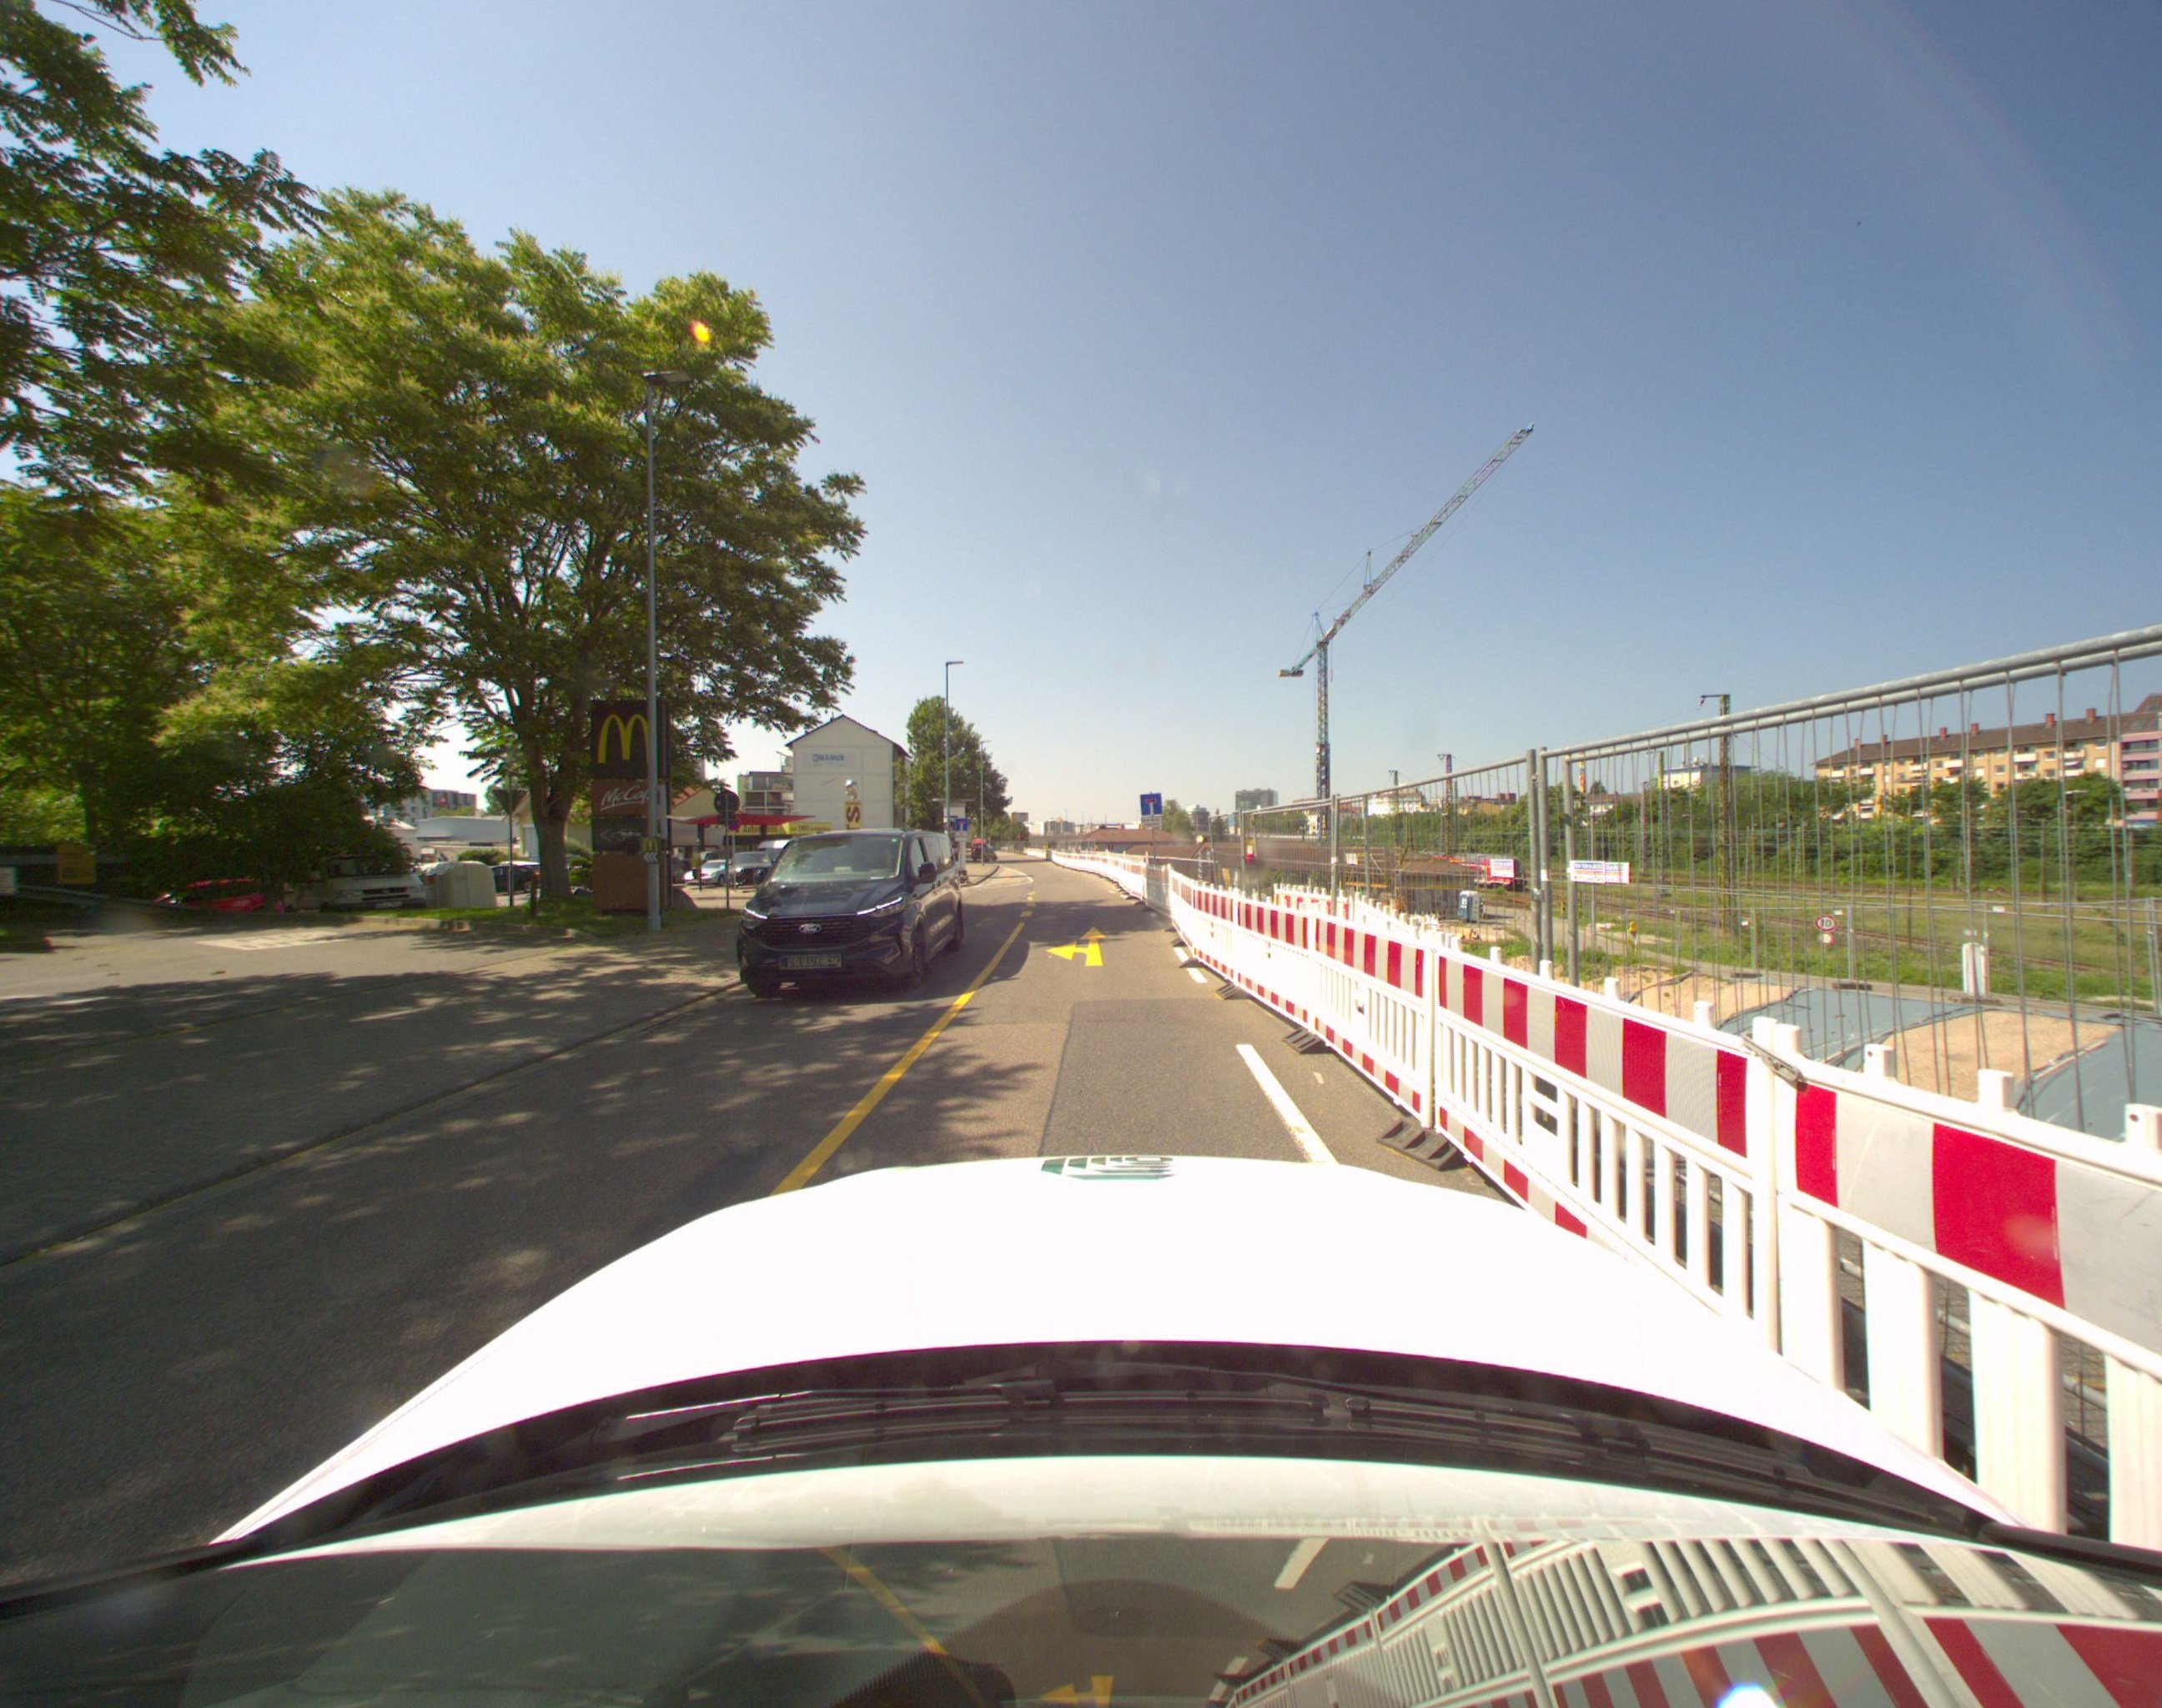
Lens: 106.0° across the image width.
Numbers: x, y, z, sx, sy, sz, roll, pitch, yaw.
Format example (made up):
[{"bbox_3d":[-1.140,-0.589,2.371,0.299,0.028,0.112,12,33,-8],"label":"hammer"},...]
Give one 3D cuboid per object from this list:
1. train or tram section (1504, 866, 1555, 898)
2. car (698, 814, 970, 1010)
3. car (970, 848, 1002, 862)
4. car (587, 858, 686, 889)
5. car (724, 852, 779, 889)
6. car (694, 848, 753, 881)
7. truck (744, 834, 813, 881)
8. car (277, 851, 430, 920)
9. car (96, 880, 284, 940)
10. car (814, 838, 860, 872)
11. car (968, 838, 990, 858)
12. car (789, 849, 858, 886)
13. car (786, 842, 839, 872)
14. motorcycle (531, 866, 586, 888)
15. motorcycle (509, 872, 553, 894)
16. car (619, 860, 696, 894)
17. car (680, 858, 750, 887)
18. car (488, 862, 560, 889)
[{"bbox_3d":[56.092,3.414,102.098,2.995,3.701,8.999,2,0,11],"label":"train or tram section"},{"bbox_3d":[-2.967,0.587,11.323,2.171,1.968,5.441,-3,1,-2],"label":"car"},{"bbox_3d":[-10.958,0.104,93.788,3.300,1.637,1.705,0,-1,-45],"label":"car"},{"bbox_3d":[-23.940,1.033,43.895,4.358,1.585,1.976,0,-1,-42],"label":"car"},{"bbox_3d":[-15.420,0.748,37.994,2.057,1.594,4.385,0,-1,-26],"label":"car"},{"bbox_3d":[-22.915,0.640,52.377,1.989,2.014,4.490,0,0,-3],"label":"car"},{"bbox_3d":[-19.644,0.209,53.199,2.262,2.904,5.941,0,0,-1],"label":"truck"},{"bbox_3d":[-19.045,0.732,21.252,4.966,1.583,1.970,1,0,36],"label":"car"},{"bbox_3d":[-26.031,1.574,23.916,1.468,1.378,3.436,1,2,27],"label":"car"},{"bbox_3d":[-16.977,0.058,56.853,2.132,2.284,4.703,-1,0,-5],"label":"car"},{"bbox_3d":[-13.413,-0.781,107.600,2.532,2.520,5.111,0,0,-3],"label":"car"},{"bbox_3d":[-12.629,0.643,39.823,2.009,1.725,3.954,0,-1,-38],"label":"car"},{"bbox_3d":[-16.663,0.182,50.823,1.872,1.738,4.718,0,0,-2],"label":"car"},{"bbox_3d":[-31.026,1.353,48.458,0.988,1.227,2.731,0,0,18],"label":"motorcycle"},{"bbox_3d":[-30.367,1.574,44.996,0.779,1.158,1.886,-1,-1,37],"label":"motorcycle"},{"bbox_3d":[-19.925,1.022,38.472,1.785,1.510,3.993,0,0,-5],"label":"car"},{"bbox_3d":[-19.812,0.969,44.273,1.780,1.487,4.005,0,0,5],"label":"car"},{"bbox_3d":[-34.432,1.305,50.311,3.950,1.585,2.012,0,-1,27],"label":"car"}]
